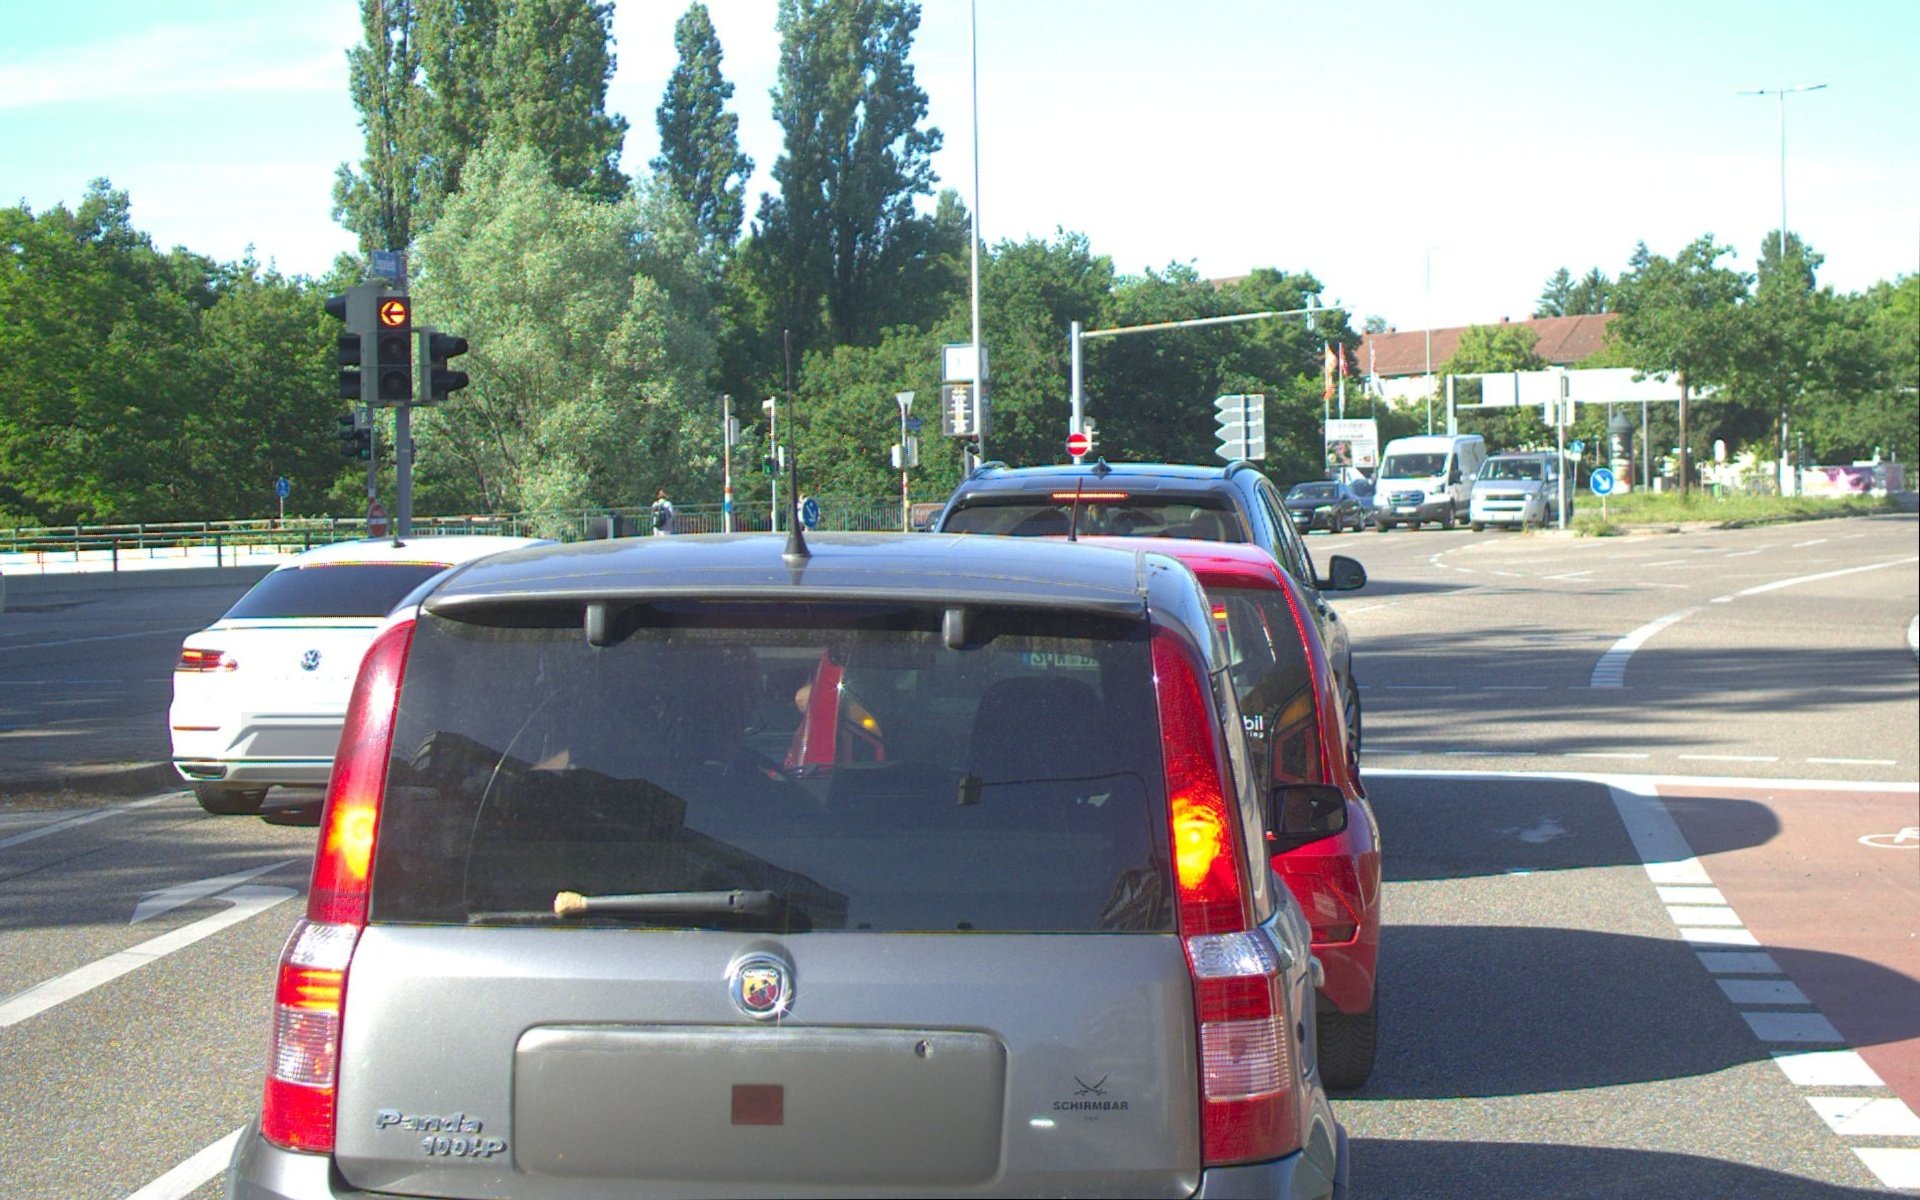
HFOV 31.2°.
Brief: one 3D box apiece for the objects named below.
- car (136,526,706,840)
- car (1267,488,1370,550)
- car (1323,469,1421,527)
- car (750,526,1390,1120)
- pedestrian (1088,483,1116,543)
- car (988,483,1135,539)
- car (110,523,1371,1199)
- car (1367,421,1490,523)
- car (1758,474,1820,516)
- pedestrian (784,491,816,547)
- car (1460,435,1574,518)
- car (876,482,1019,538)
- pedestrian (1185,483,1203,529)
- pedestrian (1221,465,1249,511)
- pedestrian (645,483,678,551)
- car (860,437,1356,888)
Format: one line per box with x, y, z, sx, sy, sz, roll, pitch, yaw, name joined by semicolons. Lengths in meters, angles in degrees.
-2.718;0.347;18.411;1.781;1.410;4.318;0;2;9;car
9.585;-2.174;91.734;1.938;1.502;3.997;-2;2;17;car
11.821;-2.929;98.324;1.812;1.536;4.613;-2;2;19;car
0.434;0.538;10.663;1.618;1.458;3.750;-1;2;5;car
3.729;-2.292;90.337;0.556;1.542;0.576;-2;1;-16;pedestrian
3.026;-2.657;101.954;4.317;1.530;1.784;-3;4;-41;car
-0.127;0.653;6.319;1.618;1.510;3.819;-1;2;5;car
12.404;-3.400;90.726;1.938;2.567;6.083;0;2;20;car
33.519;-4.263;138.950;1.938;1.616;4.502;0;2;20;car
-4.607;-2.335;99.090;0.709;1.542;0.729;-2;-1;-16;pedestrian
14.091;-3.135;86.780;1.938;2.001;4.927;0;2;20;car
-0.359;-2.710;104.107;3.988;1.619;1.900;0;1;-38;car
8.695;-3.471;127.491;0.499;1.696;0.499;1;0;24;pedestrian
10.162;-4.136;126.810;0.791;1.658;0.628;1;1;40;pedestrian
-6.502;-1.812;74.854;0.679;1.458;0.703;-1;2;-6;pedestrian
0.837;0.189;16.158;1.946;1.833;4.152;-1;2;8;car
